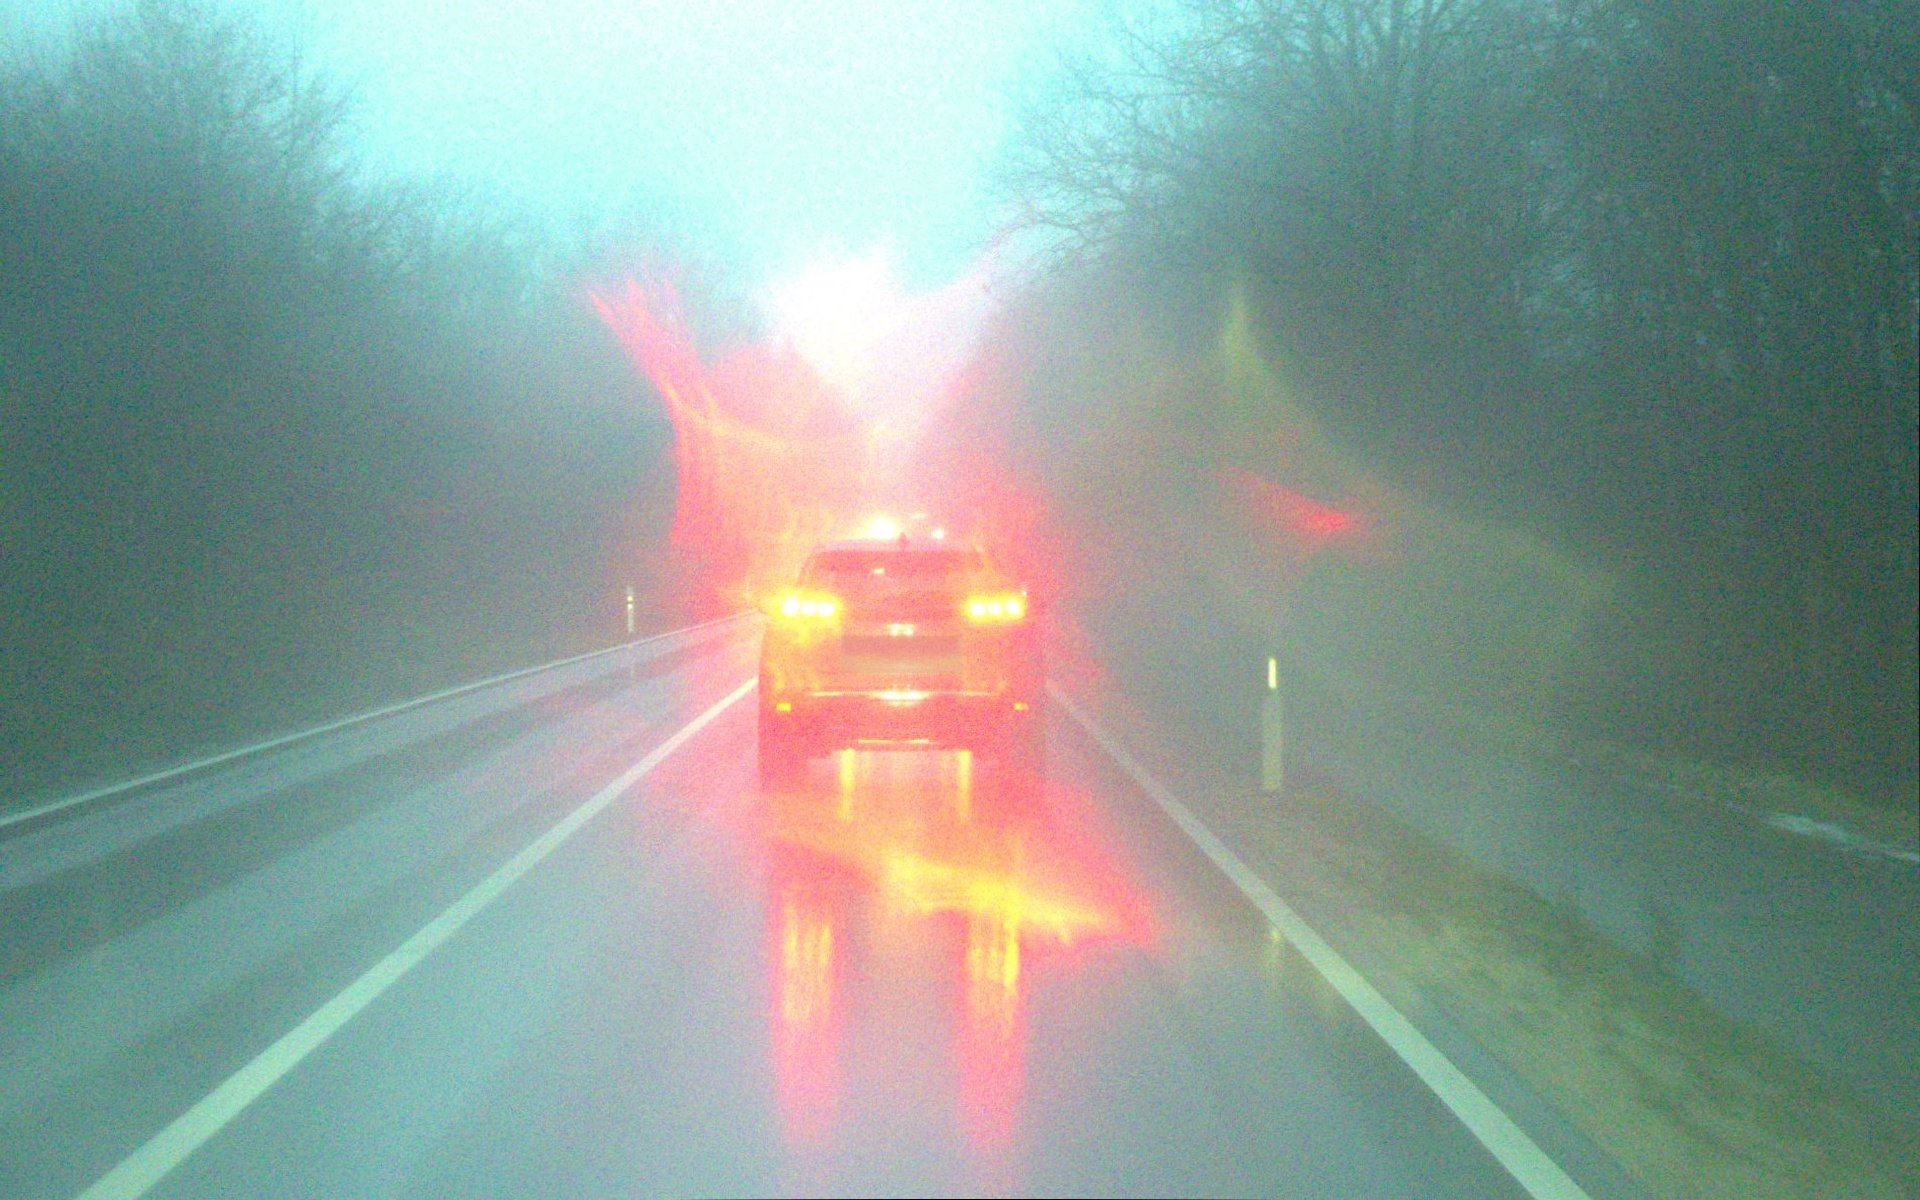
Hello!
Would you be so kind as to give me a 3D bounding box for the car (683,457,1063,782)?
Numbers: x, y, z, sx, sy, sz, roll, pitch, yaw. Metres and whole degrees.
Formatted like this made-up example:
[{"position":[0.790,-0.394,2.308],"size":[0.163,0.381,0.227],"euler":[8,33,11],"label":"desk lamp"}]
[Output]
[{"position":[-0.560,0.064,22.556],"size":[2.198,1.871,4.827],"euler":[1,1,-1],"label":"car"}]
